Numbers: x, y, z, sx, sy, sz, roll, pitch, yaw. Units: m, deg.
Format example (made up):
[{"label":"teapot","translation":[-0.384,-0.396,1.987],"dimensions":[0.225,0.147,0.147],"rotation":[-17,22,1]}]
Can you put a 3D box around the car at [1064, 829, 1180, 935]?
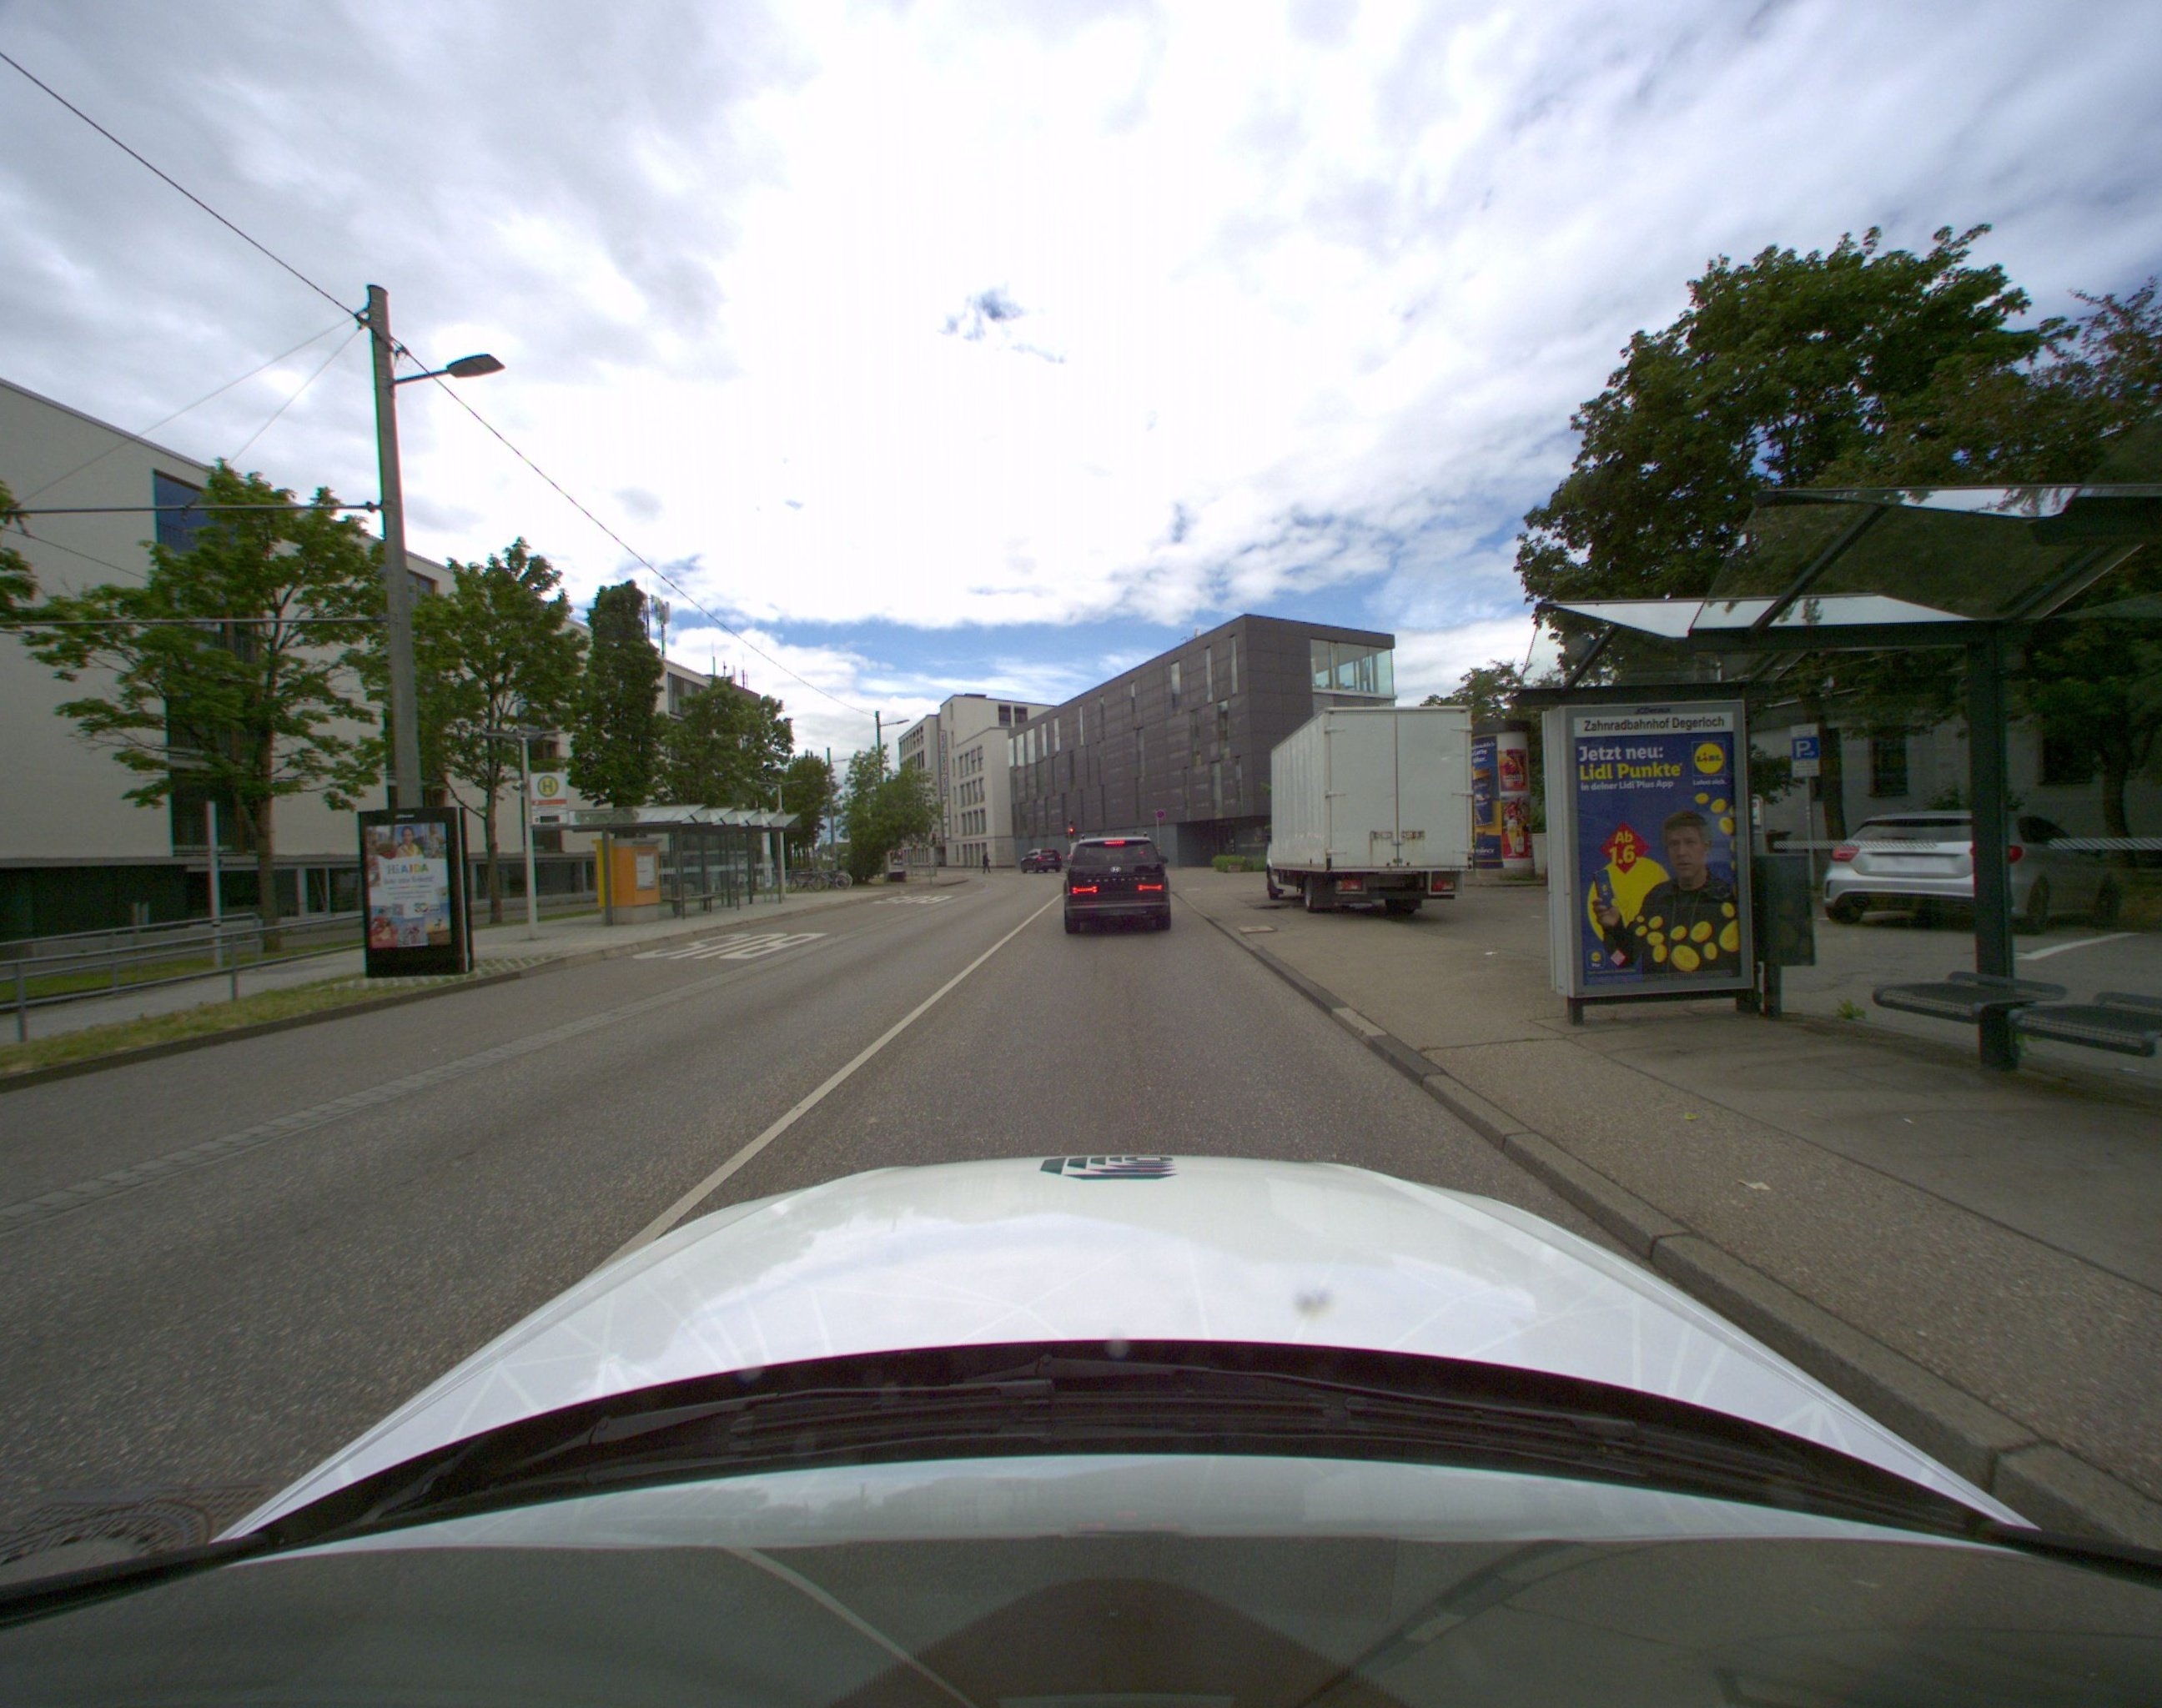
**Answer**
[{"label":"car","translation":[0.665,0.451,15.617],"dimensions":[1.909,1.725,4.169],"rotation":[-1,0,-1]}]

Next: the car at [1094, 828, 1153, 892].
[{"label":"car","translation":[1.602,0.173,29.332],"dimensions":[1.847,2.033,4.443],"rotation":[-3,1,5]}]

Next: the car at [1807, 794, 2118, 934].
[{"label":"car","translation":[11.167,0.100,10.290],"dimensions":[3.813,1.474,1.781],"rotation":[-1,-1,-29]}]

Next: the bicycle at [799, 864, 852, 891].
[{"label":"bicycle","translation":[-11.307,1.032,36.076],"dimensions":[2.090,1.106,0.632],"rotation":[-2,0,3]}]

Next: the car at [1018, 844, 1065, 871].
[{"label":"car","translation":[-2.769,0.279,56.530],"dimensions":[1.855,1.677,4.342],"rotation":[-4,0,-22]}]

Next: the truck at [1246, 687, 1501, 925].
[{"label":"truck","translation":[5.277,-0.772,16.405],"dimensions":[2.562,3.525,7.817],"rotation":[-3,0,3]}]

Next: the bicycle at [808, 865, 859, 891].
[{"label":"bicycle","translation":[-11.165,1.083,36.795],"dimensions":[2.090,1.106,0.632],"rotation":[-2,0,3]}]

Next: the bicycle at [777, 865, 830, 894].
[{"label":"bicycle","translation":[-11.544,1.054,33.897],"dimensions":[1.920,1.106,0.588],"rotation":[-3,0,3]}]

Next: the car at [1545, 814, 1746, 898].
[{"label":"car","translation":[10.775,0.014,15.536],"dimensions":[3.511,1.455,1.666],"rotation":[-1,-1,-27]}]

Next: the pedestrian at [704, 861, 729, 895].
[{"label":"pedestrian","translation":[-18.983,1.239,42.417],"dimensions":[0.827,1.765,0.907],"rotation":[0,-1,2]}]

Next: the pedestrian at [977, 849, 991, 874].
[{"label":"pedestrian","translation":[-7.328,0.544,61.471],"dimensions":[0.938,1.800,0.589],"rotation":[-3,0,-10]}]
